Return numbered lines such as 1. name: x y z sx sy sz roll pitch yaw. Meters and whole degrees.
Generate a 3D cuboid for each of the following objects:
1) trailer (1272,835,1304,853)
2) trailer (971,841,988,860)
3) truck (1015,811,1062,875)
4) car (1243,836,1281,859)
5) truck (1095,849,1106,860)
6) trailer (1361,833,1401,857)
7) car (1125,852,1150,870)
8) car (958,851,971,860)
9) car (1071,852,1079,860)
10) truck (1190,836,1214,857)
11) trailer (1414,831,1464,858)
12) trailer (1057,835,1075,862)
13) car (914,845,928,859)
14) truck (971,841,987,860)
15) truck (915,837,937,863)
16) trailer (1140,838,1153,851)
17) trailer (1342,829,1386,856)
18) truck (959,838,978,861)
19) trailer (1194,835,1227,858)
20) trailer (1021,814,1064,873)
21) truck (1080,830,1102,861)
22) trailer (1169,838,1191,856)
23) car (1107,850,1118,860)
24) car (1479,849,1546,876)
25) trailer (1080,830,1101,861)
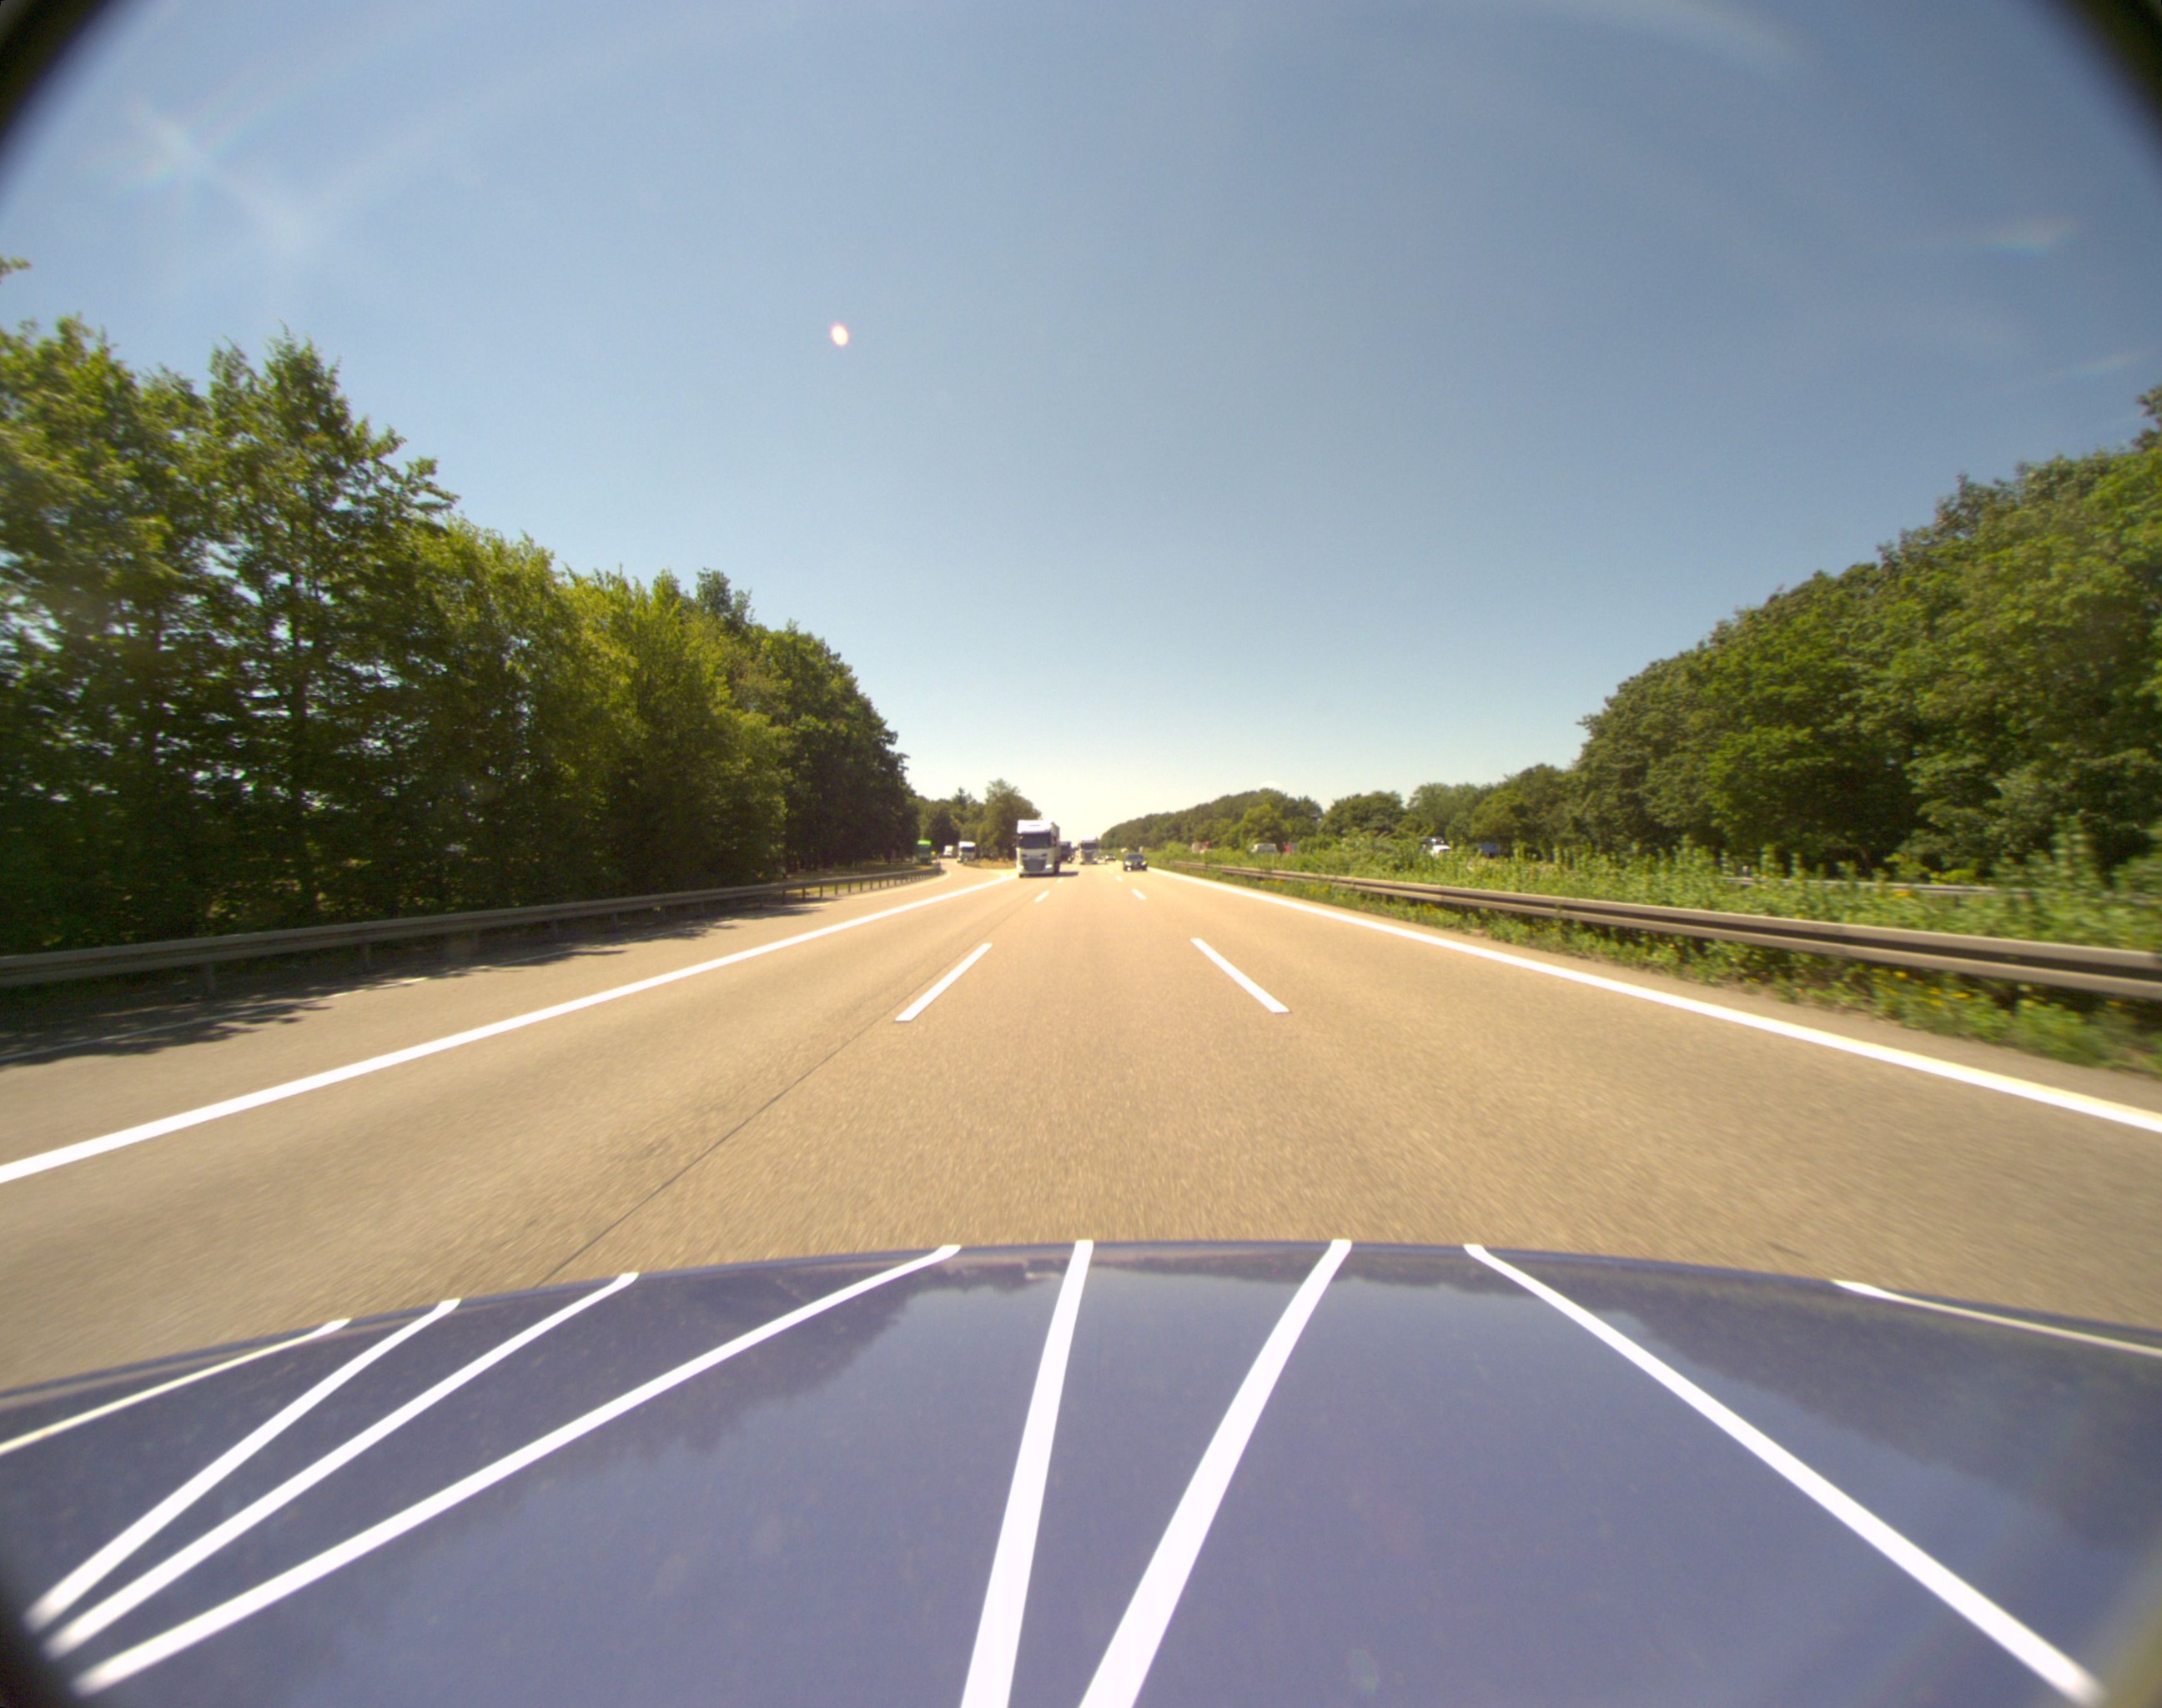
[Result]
1. trailer: 50.747 -2.450 187.083 3.611 4.239 14.019 0 0 -2
2. trailer: -25.202 -0.932 189.799 3.393 4.437 18.116 -1 0 -6
3. truck: -2.984 -0.773 55.271 2.863 4.247 6.863 -2 1 0
4. car: 17.356 -0.620 73.320 2.151 2.043 6.633 -2 1 1
5. truck: 4.765 0.081 185.314 2.576 2.461 5.614 -2 1 0
6. trailer: 58.179 -1.714 147.789 3.608 4.565 14.029 0 0 6
7. car: 4.675 0.585 63.277 1.811 1.399 4.000 -3 0 0
8. car: -21.933 0.271 143.423 1.999 1.700 4.677 1 0 -3
9. car: -1.346 0.464 179.611 1.811 1.613 3.999 -3 1 0
10. truck: 22.253 -1.398 140.076 3.206 3.559 6.995 -2 1 1
11. trailer: 52.200 -1.323 111.435 3.606 3.634 14.036 0 0 12
12. trailer: -2.437 -0.884 127.583 2.863 4.247 11.470 -1 0 0
13. car: -30.760 -0.441 146.297 2.315 2.568 6.642 1 0 -10
14. truck: -24.300 -0.887 180.579 3.393 4.437 8.228 -1 1 -6
15. truck: -25.785 -0.653 126.173 3.395 4.233 6.609 -2 1 -12
16. trailer: 21.997 -3.246 256.136 2.910 4.247 11.487 -2 1 0
17. trailer: 46.281 -1.853 124.894 3.222 4.112 14.055 -2 1 6
18. truck: -22.812 -0.973 153.445 3.395 4.437 7.382 -2 1 -10
19. trailer: 22.114 -1.312 130.720 3.206 3.559 15.967 -2 1 1
20. trailer: -3.041 -0.848 64.157 2.863 4.247 14.978 -2 1 0
21. truck: 1.349 -1.182 107.664 2.863 4.247 5.410 -2 1 0
22. trailer: 22.635 -1.580 174.415 3.206 3.803 14.022 -2 1 1
23. car: 5.643 0.155 135.959 1.806 1.774 3.999 -1 1 1
24. car: 27.593 0.510 48.722 1.976 1.585 4.000 -3 0 0
25. trailer: 1.399 -1.240 114.175 2.863 4.247 11.470 -2 1 0
